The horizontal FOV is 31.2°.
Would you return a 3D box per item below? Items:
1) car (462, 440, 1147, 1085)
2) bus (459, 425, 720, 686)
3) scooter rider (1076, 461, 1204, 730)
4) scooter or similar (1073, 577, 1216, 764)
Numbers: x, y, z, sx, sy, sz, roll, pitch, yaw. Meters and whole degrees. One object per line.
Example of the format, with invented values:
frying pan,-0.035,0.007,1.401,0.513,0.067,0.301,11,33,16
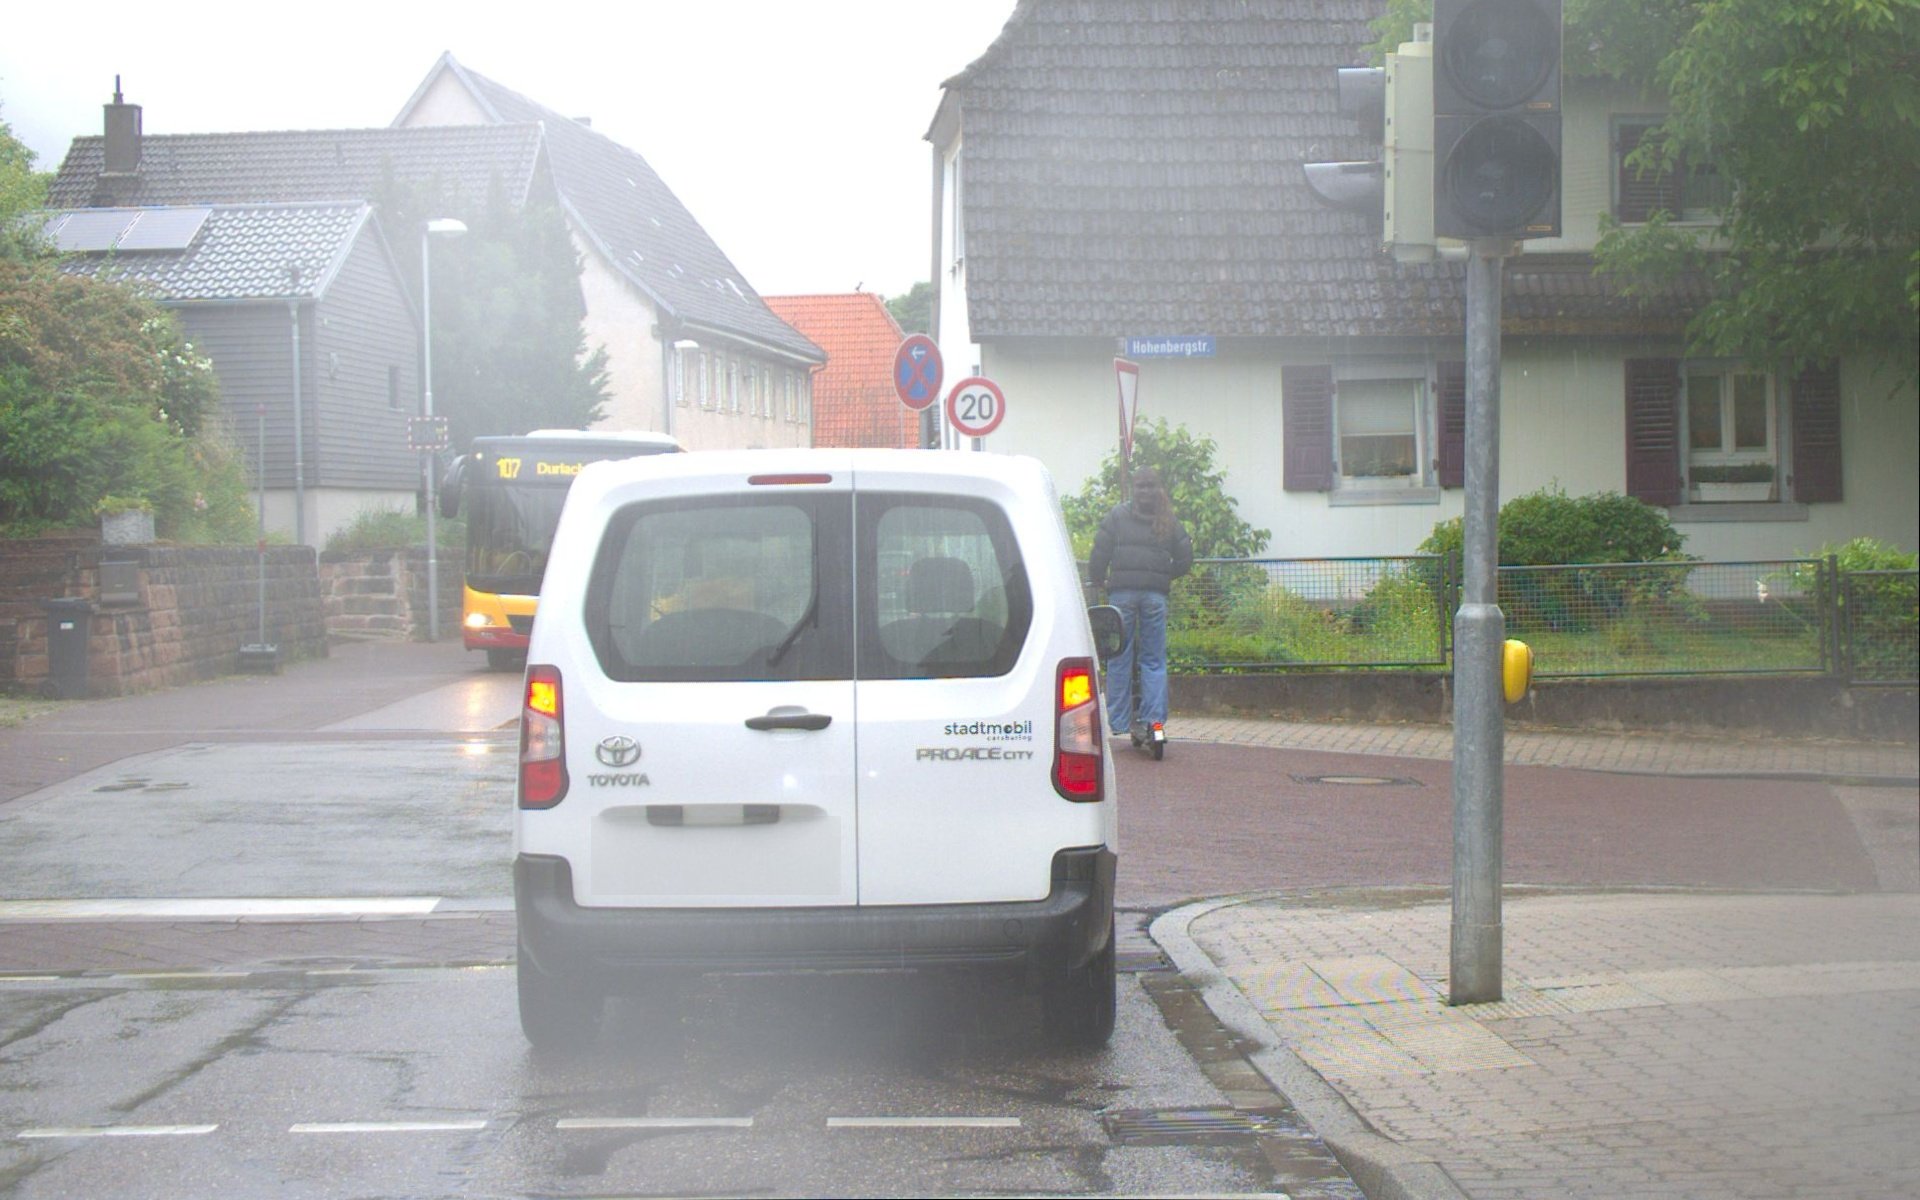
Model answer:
car,-0.501,0.419,11.501,1.894,1.787,3.814,1,1,-2
bus,-4.667,-0.783,45.481,2.649,2.989,12.195,0,3,-3
scooter rider,1.169,-0.039,22.411,0.730,1.727,0.518,0,2,-10
scooter or similar,1.187,0.439,22.329,0.620,1.123,1.402,0,3,-10
